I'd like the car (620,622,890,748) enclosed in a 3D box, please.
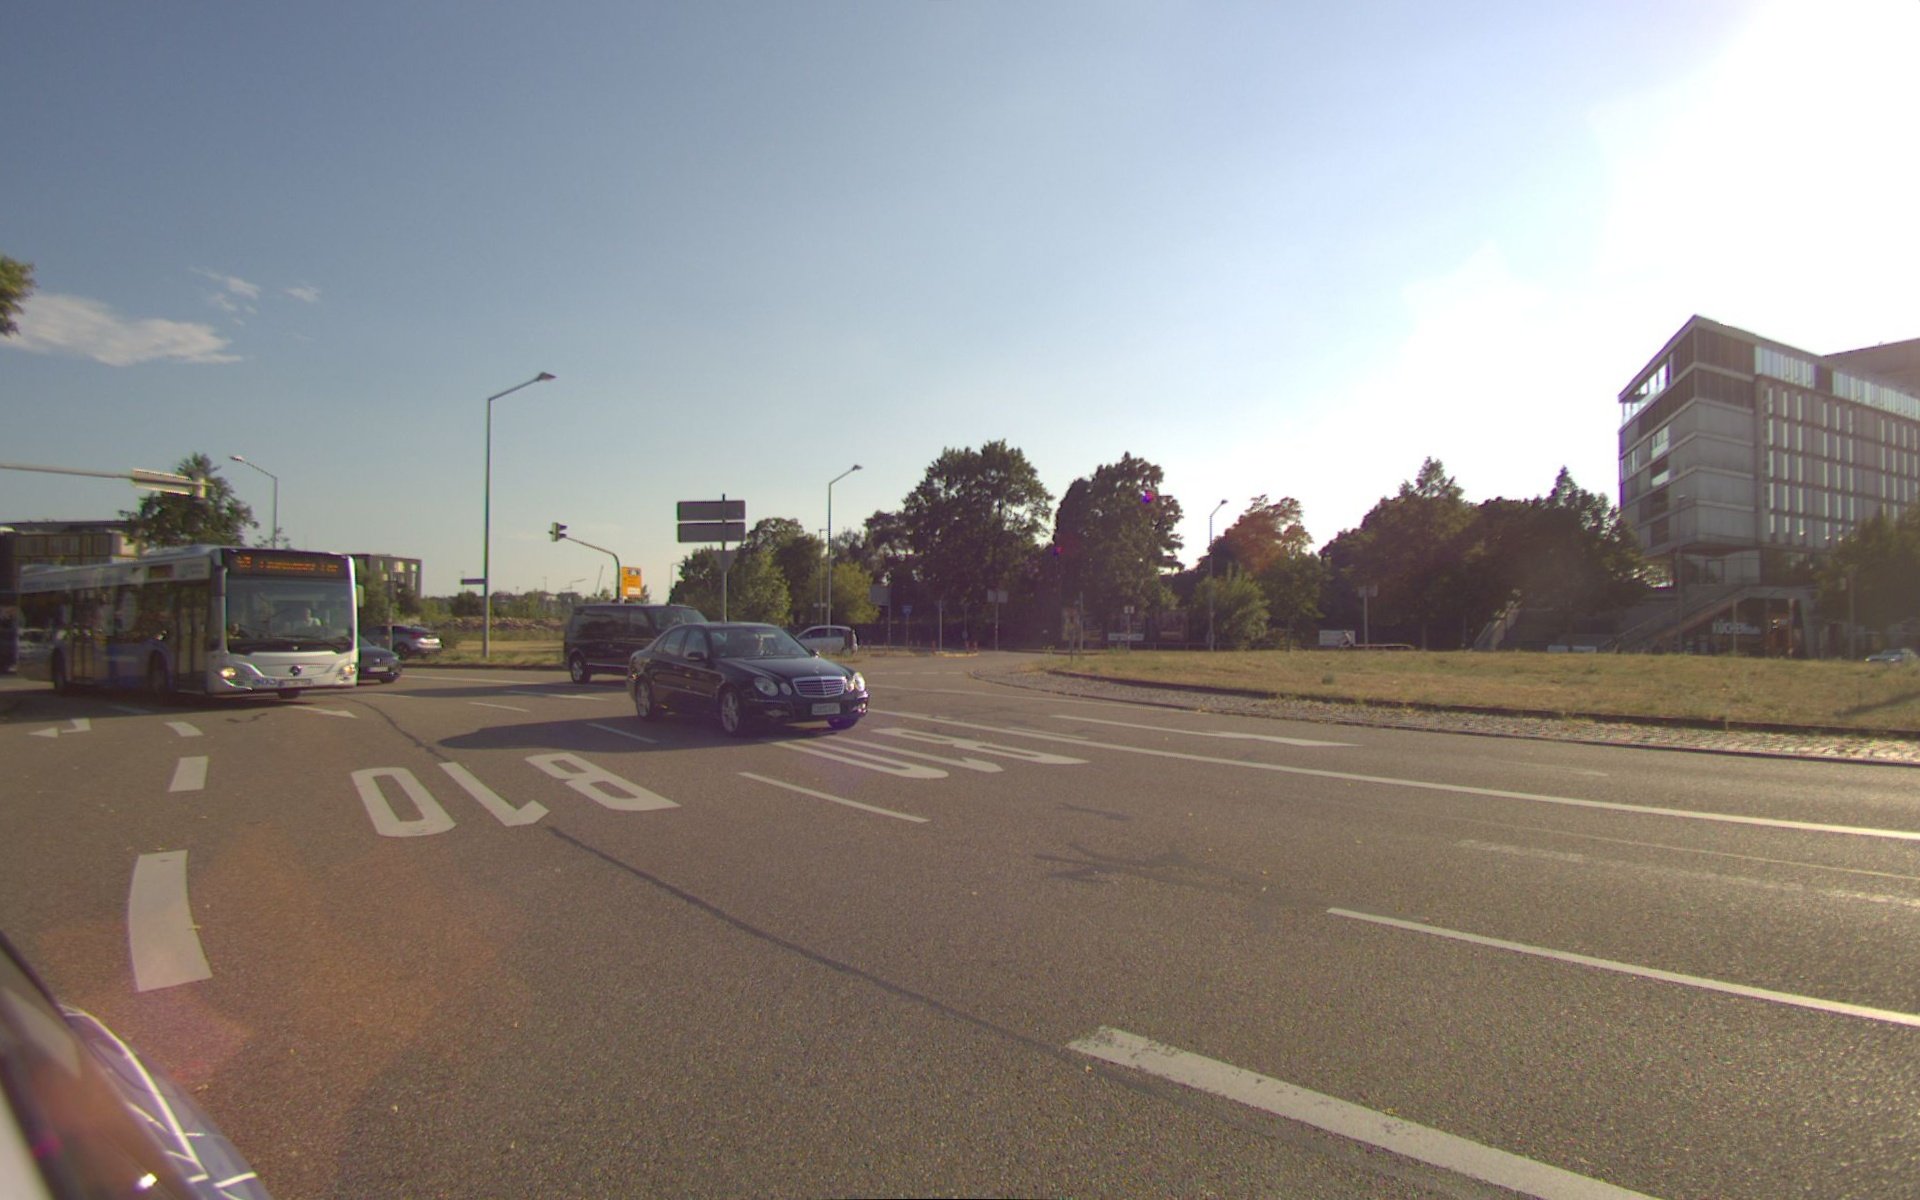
[{"bbox_3d":[-3.001,1.041,14.042,1.782,1.448,4.502,1,-2,-39],"label":"car"}]

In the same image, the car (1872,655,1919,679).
[{"bbox_3d":[60.493,4.290,65.156,3.242,1.487,1.489,1,-2,-26],"label":"car"}]

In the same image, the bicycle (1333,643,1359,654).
[{"bbox_3d":[28.176,3.545,73.862,1.708,0.750,0.477,-1,-2,20],"label":"bicycle"}]

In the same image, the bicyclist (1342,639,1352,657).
[{"bbox_3d":[28.243,3.518,73.873,0.649,1.336,0.515,-1,-2,20],"label":"bicyclist"}]

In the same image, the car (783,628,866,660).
[{"bbox_3d":[-6.837,2.209,51.120,3.875,1.537,1.661,1,-2,-19],"label":"car"}]

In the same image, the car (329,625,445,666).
[{"bbox_3d":[-24.256,1.906,42.889,4.156,1.686,1.769,0,-2,12],"label":"car"}]

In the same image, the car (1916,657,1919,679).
[{"bbox_3d":[66.496,4.597,68.551,3.242,1.487,1.489,1,-2,-26],"label":"car"}]

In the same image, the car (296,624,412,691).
[{"bbox_3d":[-16.115,1.450,26.827,1.784,1.521,4.166,0,0,-43],"label":"car"}]

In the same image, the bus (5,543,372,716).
[{"bbox_3d":[-17.319,0.584,22.232,11.683,3.066,2.568,-1,-1,33],"label":"bus"}]

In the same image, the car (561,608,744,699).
[{"bbox_3d":[-7.474,1.182,24.318,5.010,1.947,1.837,0,-1,41],"label":"car"}]
